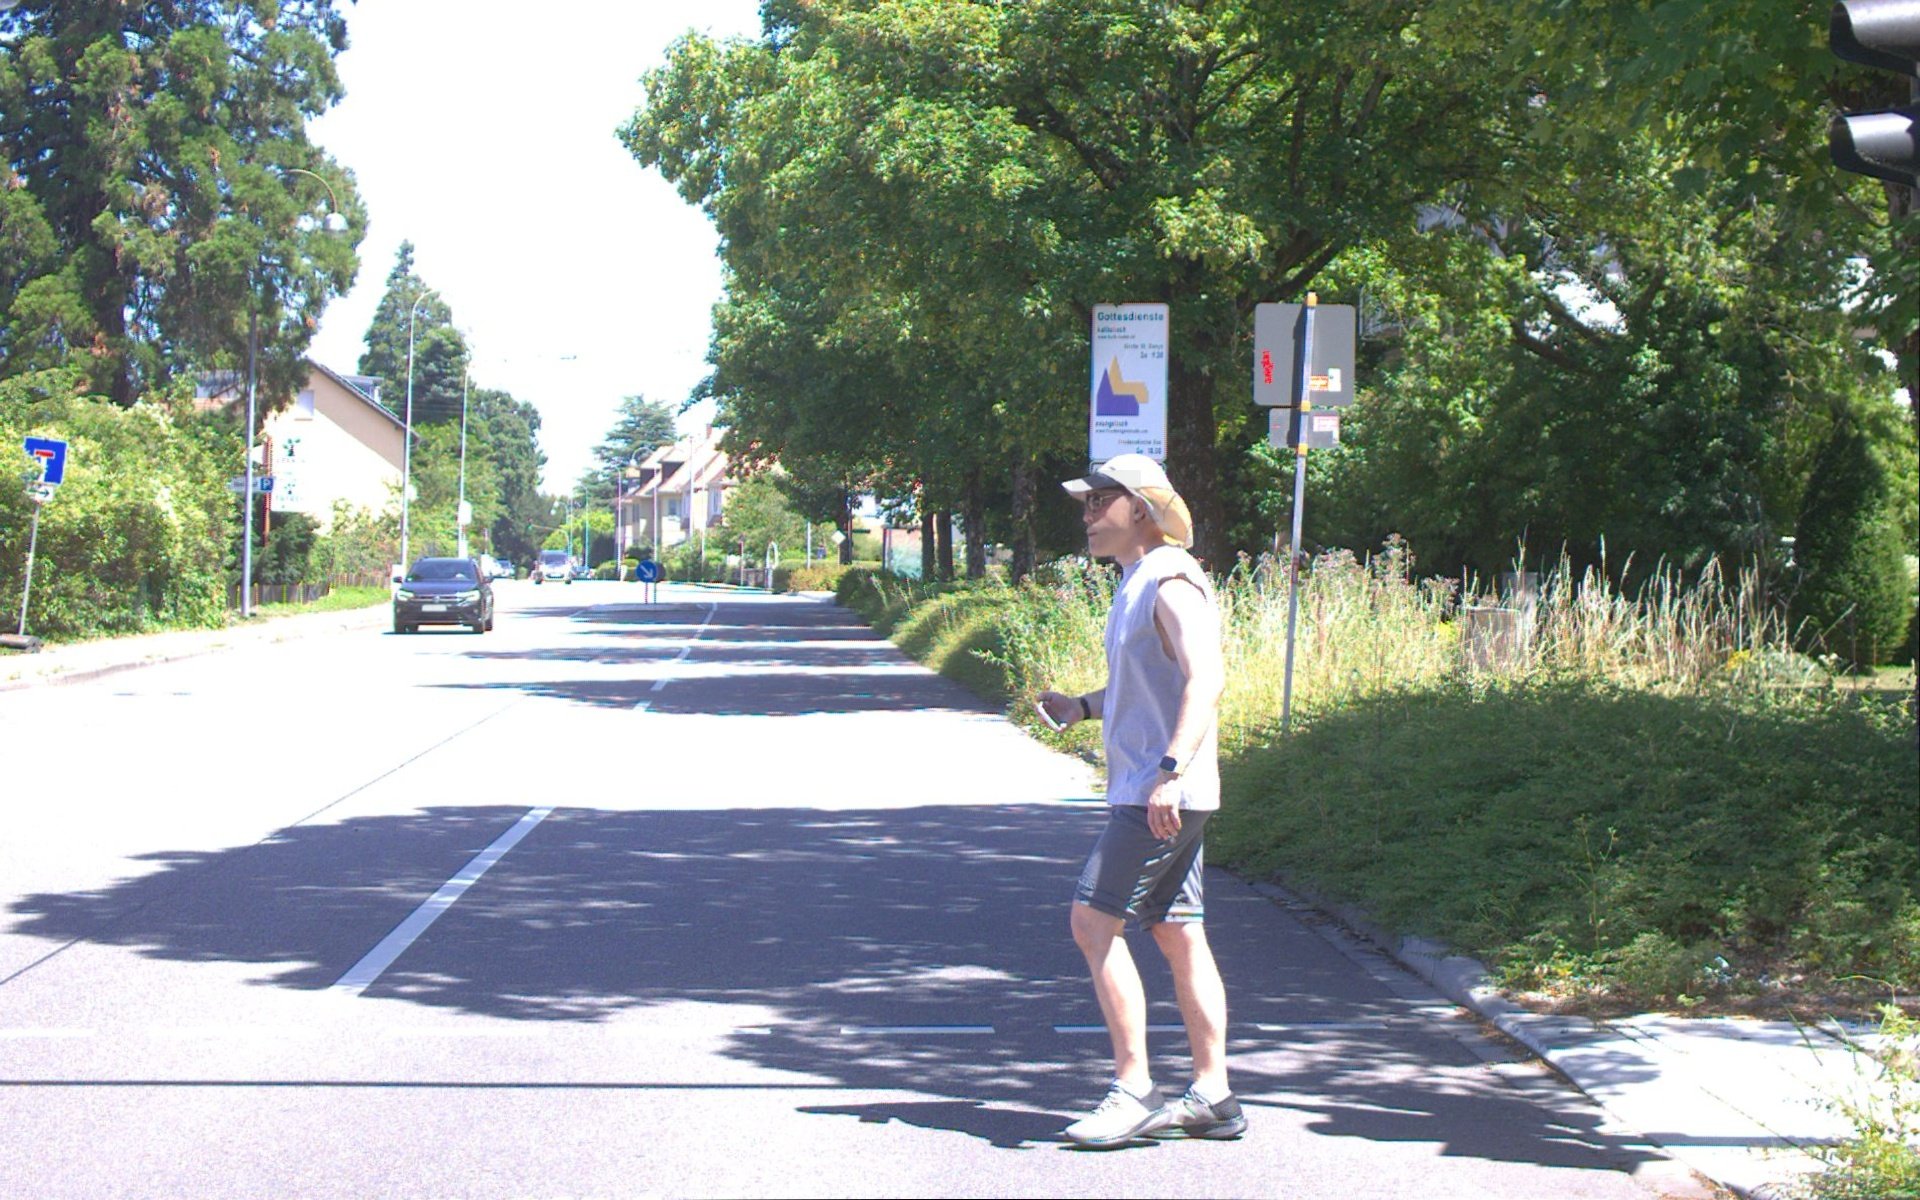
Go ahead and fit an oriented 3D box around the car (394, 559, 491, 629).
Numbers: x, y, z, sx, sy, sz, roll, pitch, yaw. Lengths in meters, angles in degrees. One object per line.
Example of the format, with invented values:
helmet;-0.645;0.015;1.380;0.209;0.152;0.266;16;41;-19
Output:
car;-10.204;-0.125;67.949;1.431;1.318;3.355;1;0;-1

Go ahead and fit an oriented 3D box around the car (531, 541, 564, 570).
car;-21.453;-2.304;178.799;1.555;1.443;3.790;1;0;-5

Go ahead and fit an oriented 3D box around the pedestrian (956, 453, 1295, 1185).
pedestrian;0.417;0.518;8.596;0.614;1.745;0.561;1;0;37
